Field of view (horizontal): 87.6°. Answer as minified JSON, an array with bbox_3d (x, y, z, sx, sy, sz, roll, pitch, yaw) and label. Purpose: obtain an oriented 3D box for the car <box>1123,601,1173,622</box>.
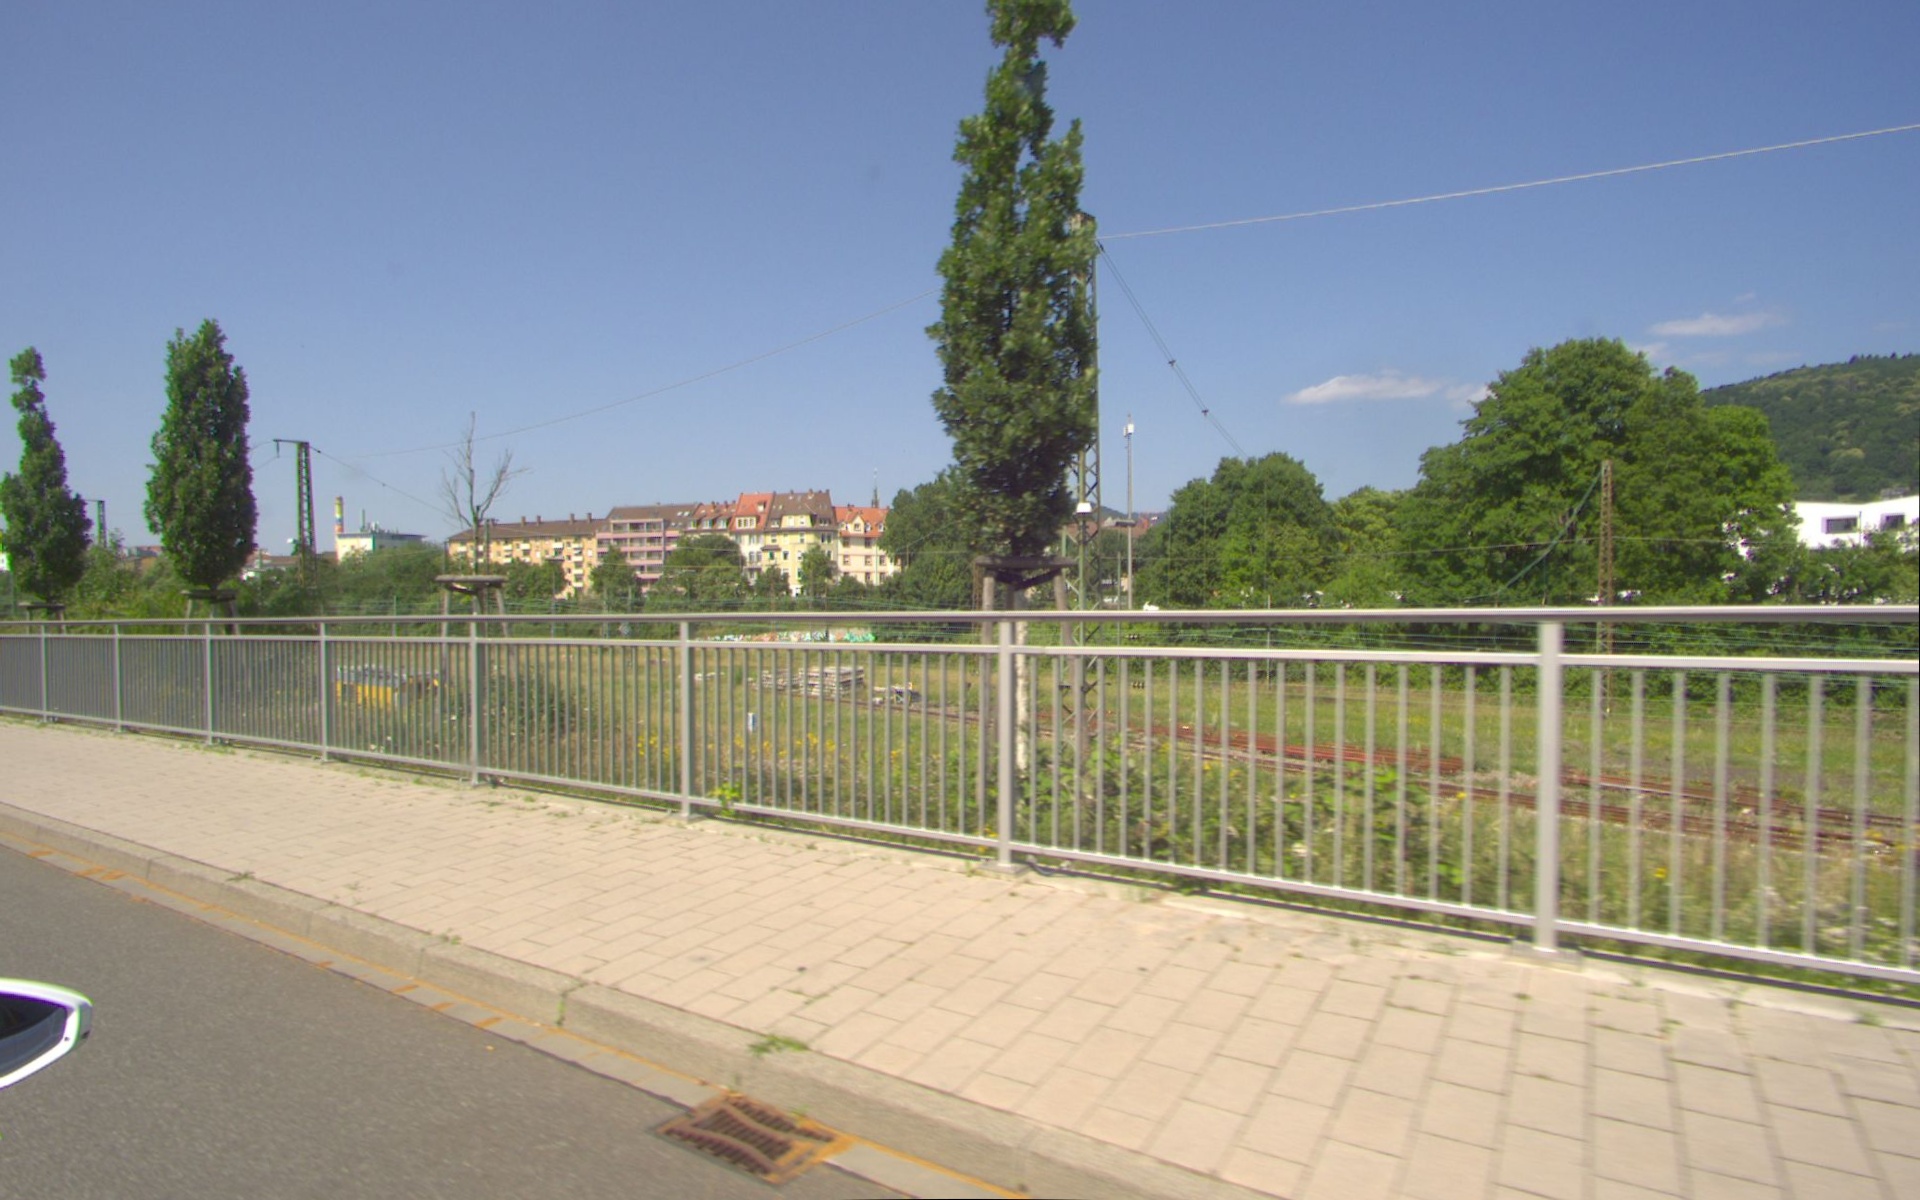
[{"bbox_3d":[20.234,1.212,107.892,4.929,2.141,1.985,0,1,38],"label":"car"}]
